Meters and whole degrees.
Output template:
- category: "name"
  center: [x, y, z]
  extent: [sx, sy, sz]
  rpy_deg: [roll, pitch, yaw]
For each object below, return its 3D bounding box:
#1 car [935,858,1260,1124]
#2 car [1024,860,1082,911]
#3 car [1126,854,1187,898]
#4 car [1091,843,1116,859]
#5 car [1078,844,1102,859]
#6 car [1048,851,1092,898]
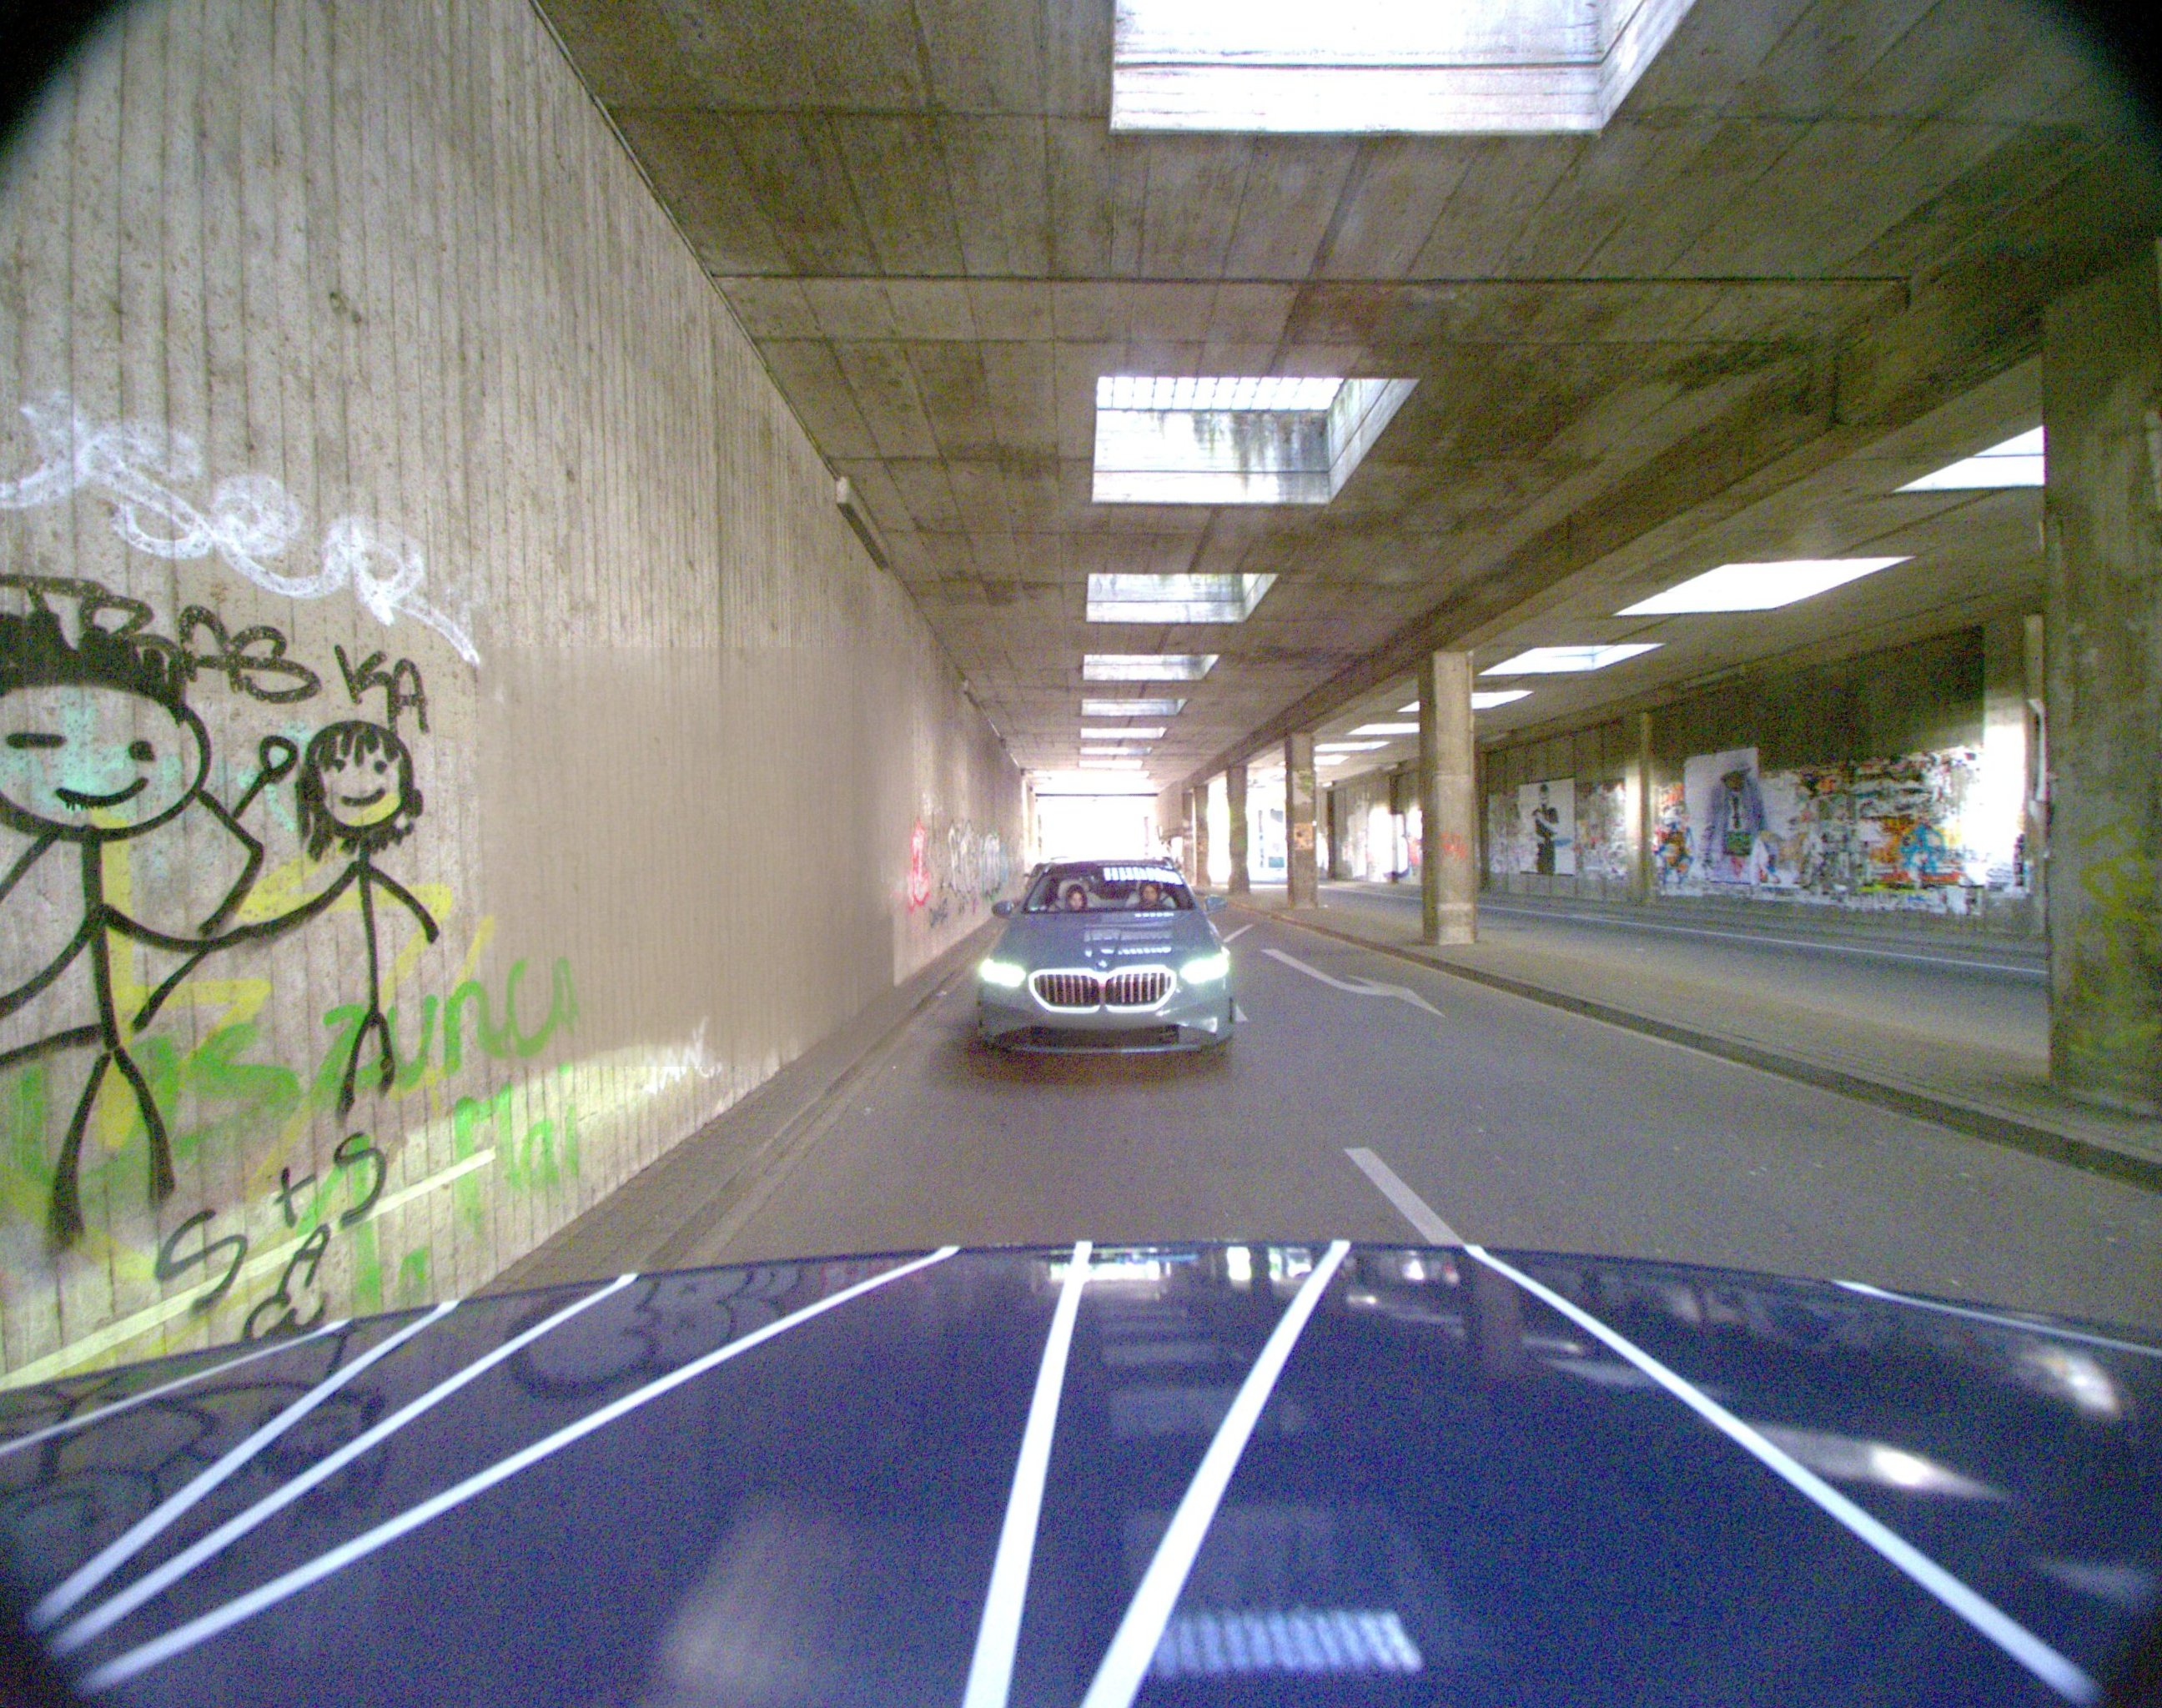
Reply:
- category: "car"
  center: [0.180, 0.874, 7.320]
  extent: [1.998, 1.594, 5.176]
  rpy_deg: [-1, 0, 2]
- category: "car"
  center: [-0.796, 0.939, 23.895]
  extent: [1.593, 1.387, 3.833]
  rpy_deg: [-2, 0, 1]
- category: "car"
  center: [2.711, 0.750, 28.199]
  extent: [1.784, 1.438, 4.178]
  rpy_deg: [-2, 0, 0]
- category: "car"
  center: [2.853, -0.346, 97.532]
  extent: [2.361, 2.002, 5.146]
  rpy_deg: [-1, 0, -8]
- category: "car"
  center: [1.199, -0.353, 103.545]
  extent: [2.361, 2.002, 5.146]
  rpy_deg: [-1, 0, -8]
- category: "car"
  center: [-0.373, 0.758, 29.901]
  extent: [1.581, 1.676, 4.078]
  rpy_deg: [-2, 0, 1]
